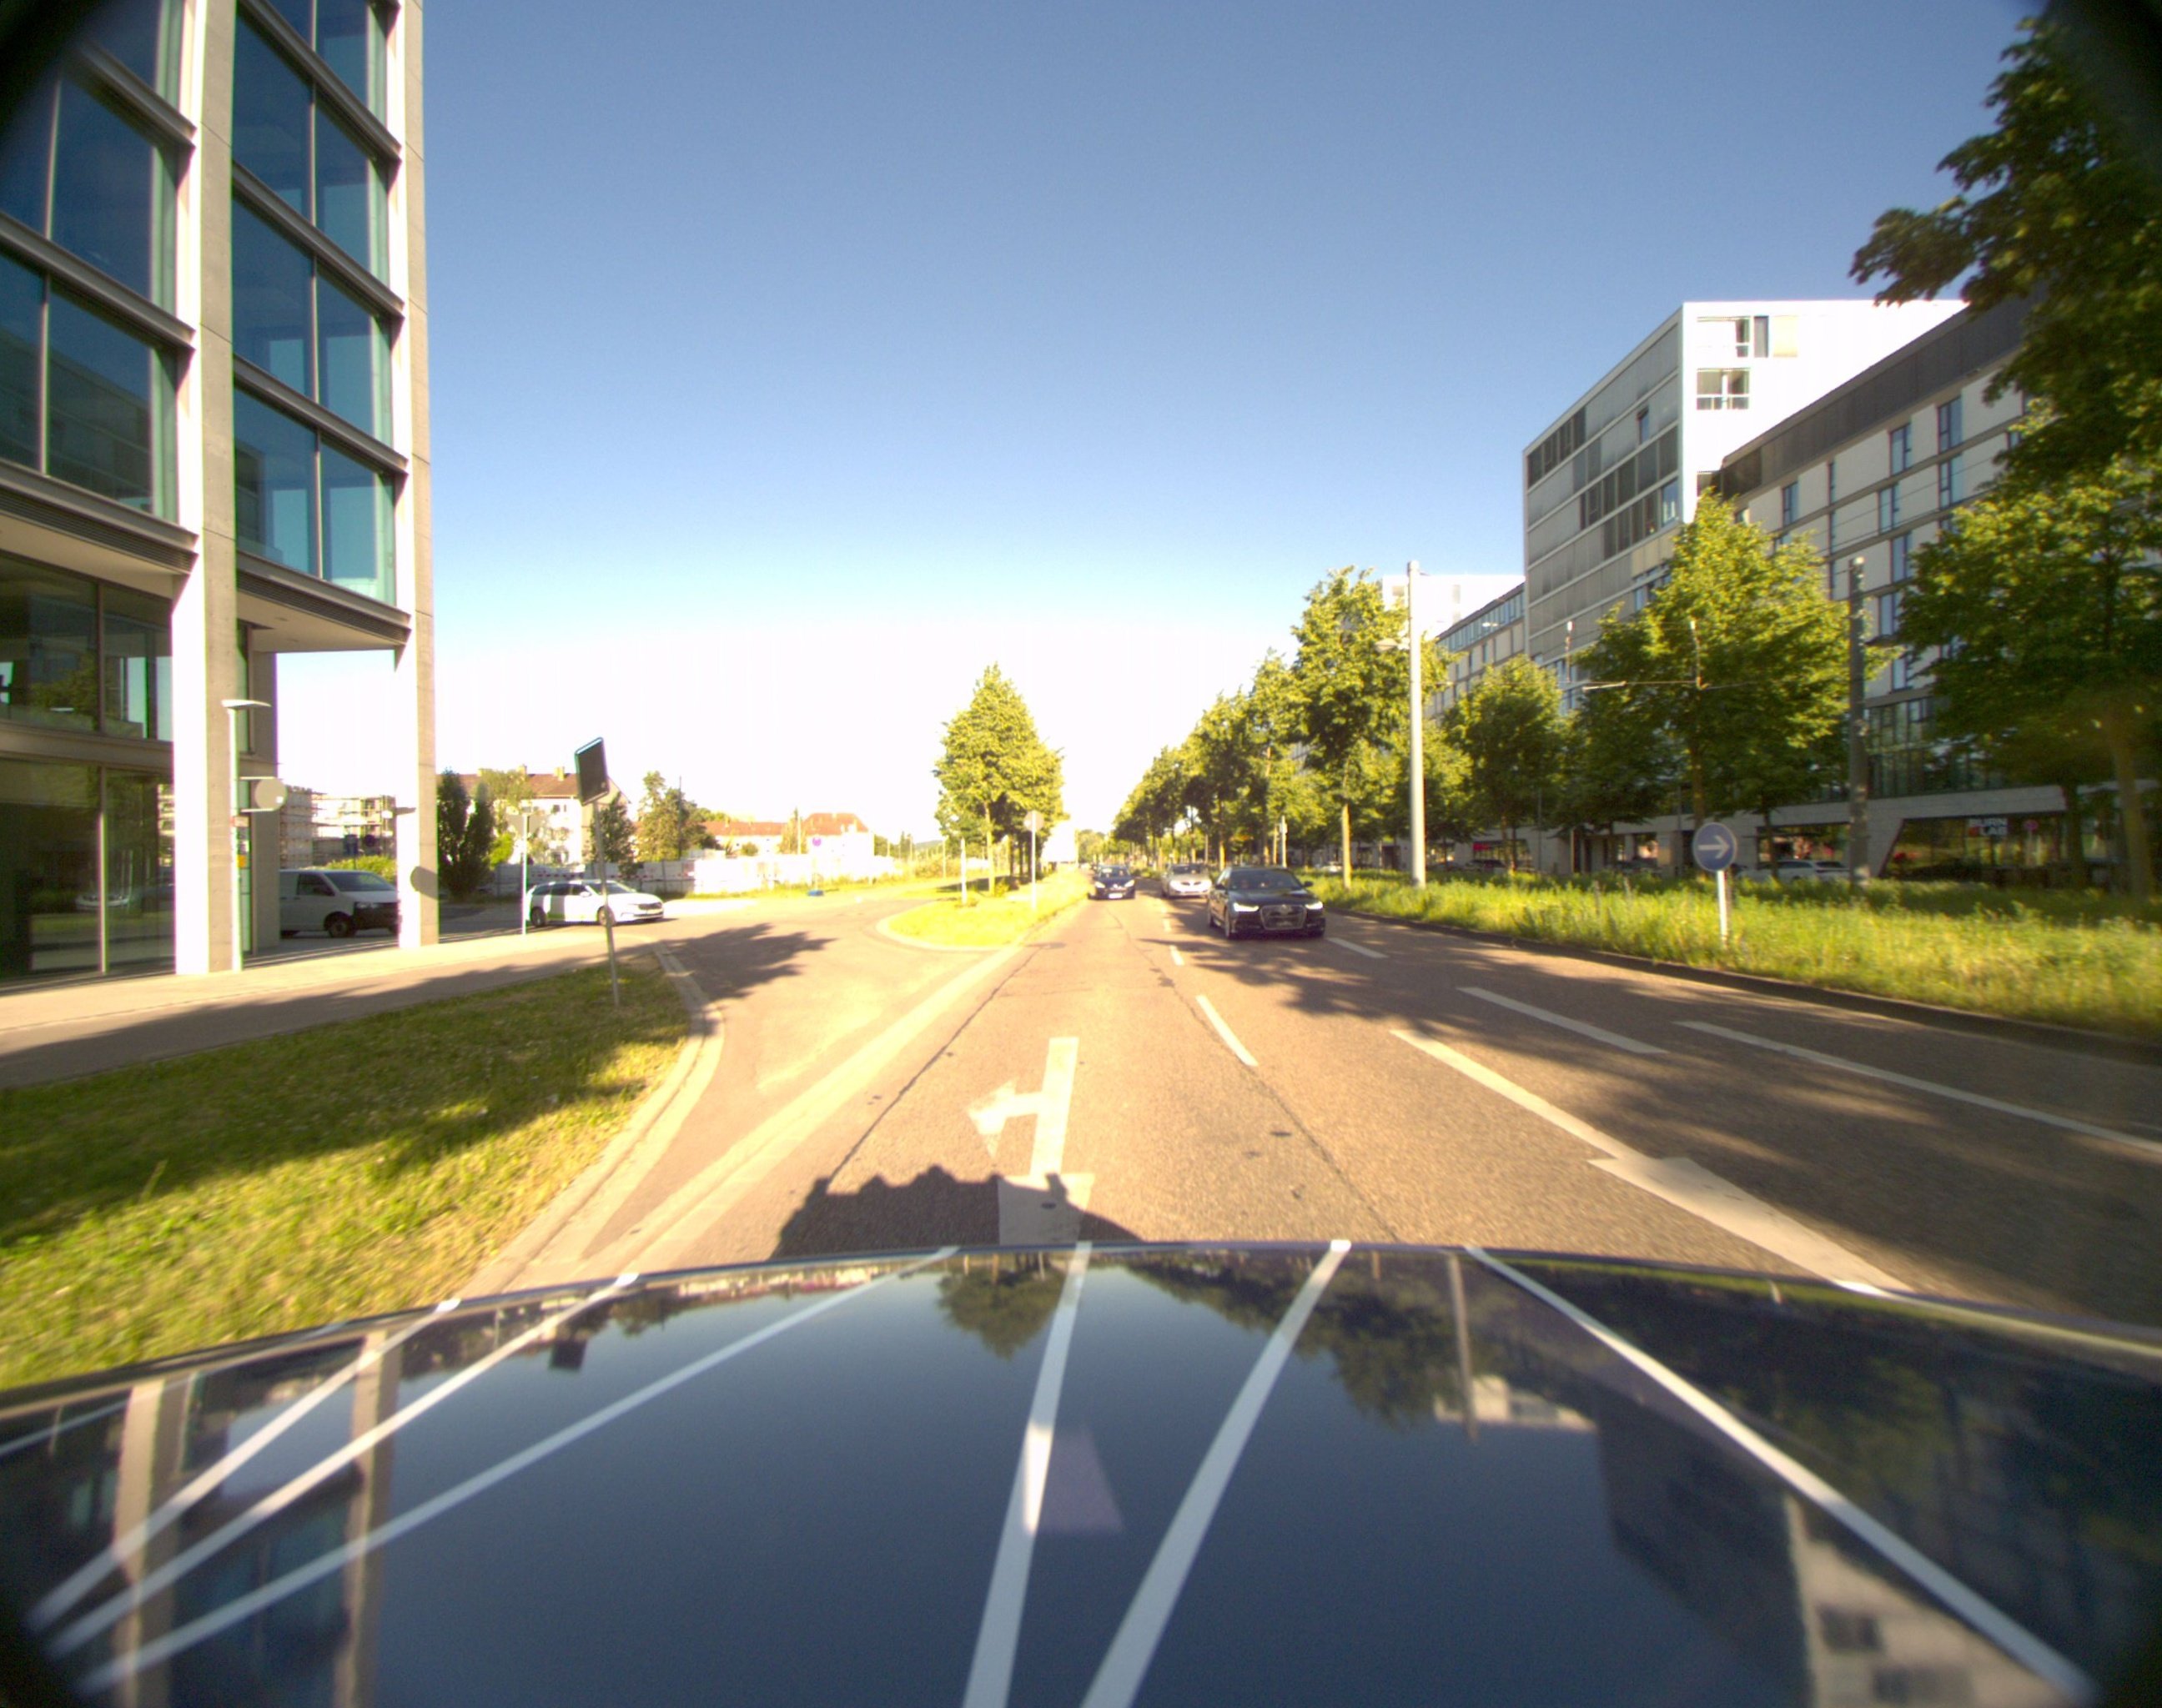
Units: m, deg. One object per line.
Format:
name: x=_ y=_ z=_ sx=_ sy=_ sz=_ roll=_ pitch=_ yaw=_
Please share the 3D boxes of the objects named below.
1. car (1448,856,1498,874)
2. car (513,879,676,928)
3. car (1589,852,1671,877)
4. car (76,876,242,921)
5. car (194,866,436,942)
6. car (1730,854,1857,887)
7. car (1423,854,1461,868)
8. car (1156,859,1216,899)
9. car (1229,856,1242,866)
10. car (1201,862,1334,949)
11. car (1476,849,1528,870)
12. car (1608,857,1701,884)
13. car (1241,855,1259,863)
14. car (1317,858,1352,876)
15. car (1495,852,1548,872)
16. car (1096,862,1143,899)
car: x=32.825 y=0.870 z=63.745 sx=1.672 sy=1.411 sz=4.804 roll=-1 pitch=0 yaw=-1
car: x=-15.414 y=1.525 z=24.131 sx=4.518 sy=1.385 sz=1.775 roll=-1 pitch=1 yaw=16
car: x=33.627 y=0.615 z=46.728 sx=1.719 sy=1.411 sz=4.545 roll=-1 pitch=0 yaw=0
car: x=-38.190 y=1.784 z=31.652 sx=1.998 sy=1.606 sz=4.000 roll=-1 pitch=0 yaw=0
car: x=-21.462 y=1.372 z=21.406 sx=5.077 sy=1.969 sz=1.939 roll=-1 pitch=-1 yaw=4
car: x=33.627 y=0.741 z=36.052 sx=1.719 sy=1.412 sz=4.545 roll=-1 pitch=0 yaw=0
car: x=32.717 y=0.643 z=68.899 sx=1.672 sy=1.200 sz=3.583 roll=-1 pitch=0 yaw=-1
car: x=4.441 y=1.010 z=32.635 sx=1.849 sy=1.560 sz=4.528 roll=-1 pitch=0 yaw=-1
car: x=32.349 y=1.397 z=159.192 sx=1.804 sy=1.915 sz=3.999 roll=-1 pitch=2 yaw=0
car: x=3.810 y=0.972 z=16.340 sx=1.788 sy=1.518 sz=4.601 roll=-2 pitch=0 yaw=1
car: x=37.717 y=0.496 z=68.200 sx=1.802 sy=1.766 sz=5.129 roll=-2 pitch=-1 yaw=0
car: x=31.509 y=0.880 z=41.928 sx=1.719 sy=1.411 sz=4.545 roll=-1 pitch=0 yaw=1
car: x=27.074 y=0.827 z=121.857 sx=1.802 sy=1.284 sz=4.311 roll=0 pitch=-1 yaw=-1
car: x=24.429 y=1.247 z=73.348 sx=1.802 sy=1.679 sz=4.321 roll=-2 pitch=-1 yaw=-1
car: x=33.386 y=0.622 z=57.710 sx=1.738 sy=1.346 sz=3.753 roll=-4 pitch=0 yaw=-1
car: x=1.649 y=1.144 z=33.835 sx=1.763 sy=1.506 sz=3.947 roll=-1 pitch=0 yaw=-1
